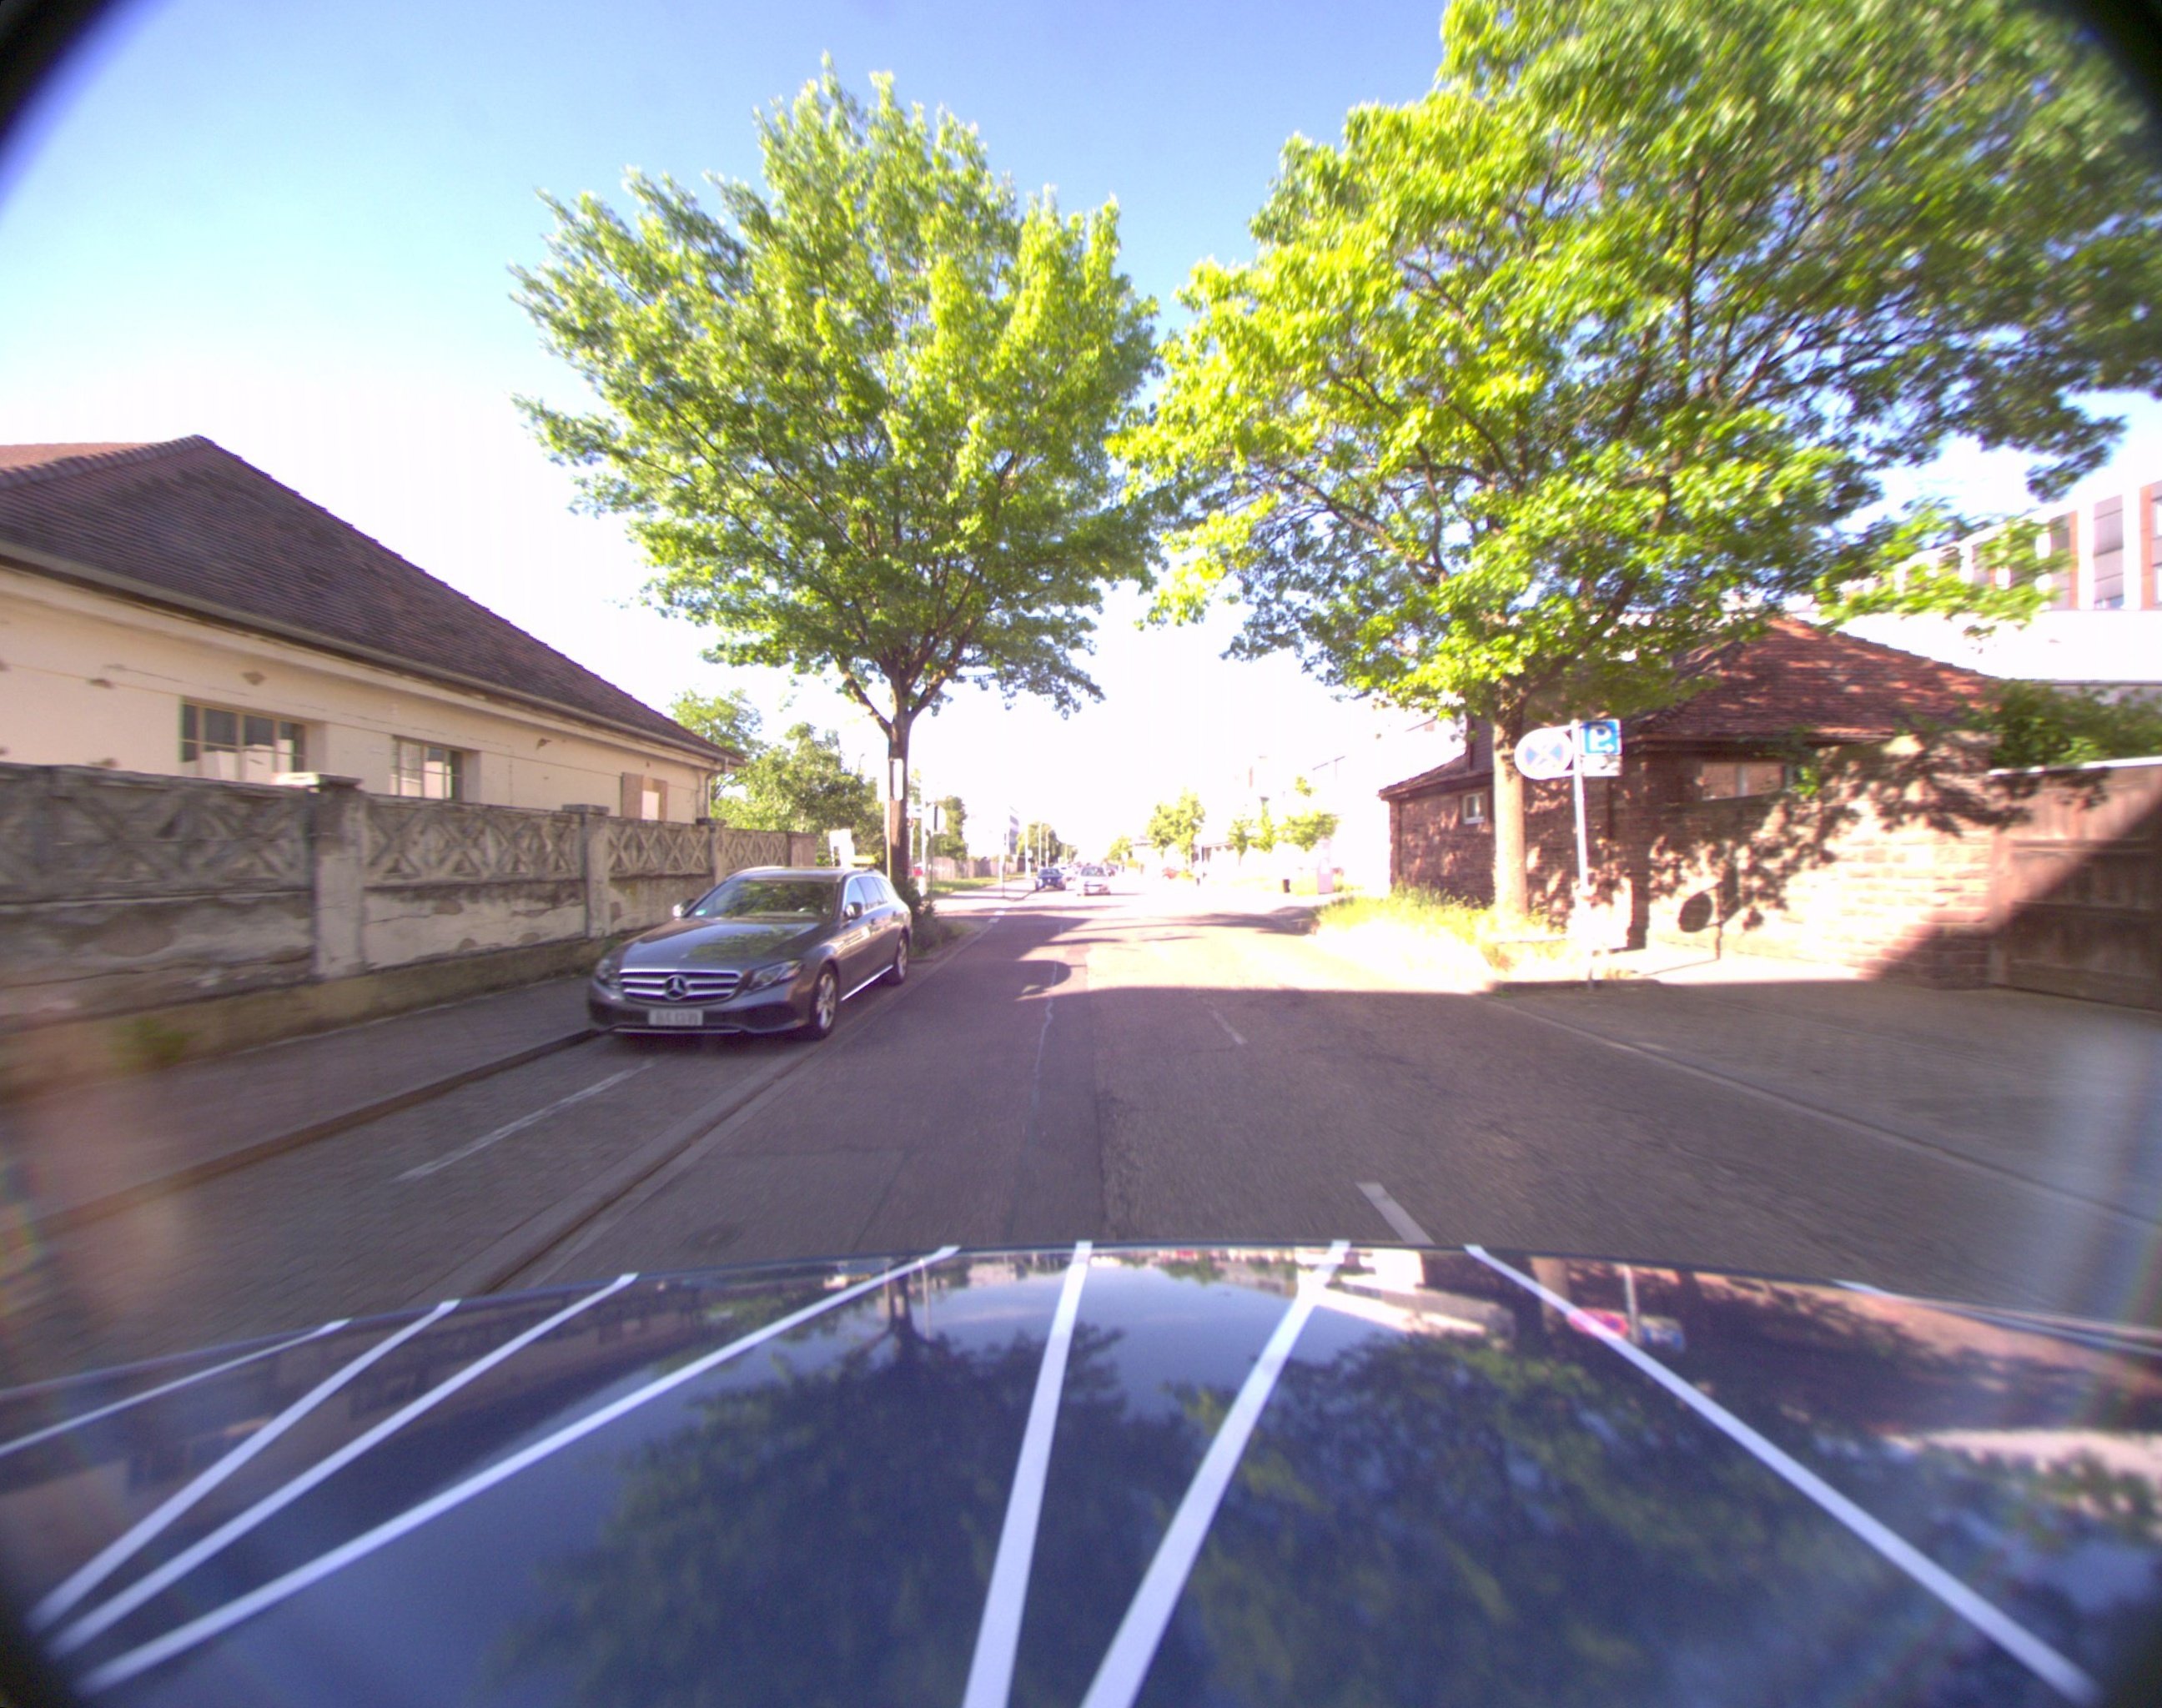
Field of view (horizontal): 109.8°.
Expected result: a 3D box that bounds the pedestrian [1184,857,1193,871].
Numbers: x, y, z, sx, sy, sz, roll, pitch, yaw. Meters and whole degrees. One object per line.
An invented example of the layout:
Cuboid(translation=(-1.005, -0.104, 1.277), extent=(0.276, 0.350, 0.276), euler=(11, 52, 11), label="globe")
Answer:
Cuboid(translation=(11.911, 1.110, 84.297), extent=(0.774, 1.540, 0.780), euler=(-2, 1, 0), label="pedestrian")

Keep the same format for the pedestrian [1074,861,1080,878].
Cuboid(translation=(-0.403, 1.576, 76.306), extent=(0.521, 1.698, 0.523), euler=(-2, 1, 5), label="pedestrian")

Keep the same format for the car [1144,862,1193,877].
Cuboid(translation=(8.314, 1.466, 72.493), extent=(4.522, 1.359, 1.700), euler=(-2, 0, 3), label="car")

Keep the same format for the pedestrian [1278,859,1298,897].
Cuboid(translation=(8.714, 1.006, 32.003), extent=(0.522, 1.553, 1.096), euler=(-1, 0, -1), label="pedestrian")

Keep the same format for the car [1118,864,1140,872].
Cuboid(translation=(9.568, 2.790, 151.356), extent=(4.142, 1.458, 1.753), euler=(-1, 0, -1), label="car")

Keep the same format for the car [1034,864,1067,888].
Cuboid(translation=(-1.842, 1.335, 47.457), extent=(1.822, 1.444, 4.214), euler=(0, -1, 1), label="car")

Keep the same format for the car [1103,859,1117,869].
Cuboid(translation=(4.226, 1.436, 110.983), extent=(1.766, 1.433, 4.537), euler=(-1, 0, -2), label="car")

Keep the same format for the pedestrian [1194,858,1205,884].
Cuboid(translation=(6.983, 1.021, 44.902), extent=(0.539, 1.515, 0.607), euler=(-1, 0, 1), label="pedestrian")

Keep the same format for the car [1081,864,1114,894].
Cuboid(translation=(0.856, 1.212, 37.987), extent=(1.551, 1.389, 3.455), euler=(0, 0, 3), label="car")

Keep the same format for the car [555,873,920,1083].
Cuboid(translation=(-3.094, 0.990, 8.114), extent=(1.707, 1.460, 4.789), euler=(-1, 0, 0), label="car")

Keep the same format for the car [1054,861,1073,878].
Cuboid(translation=(-1.760, 1.561, 75.861), extent=(1.818, 1.579, 4.262), euler=(-2, -1, -2), label="car")

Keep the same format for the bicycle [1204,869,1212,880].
Cuboid(translation=(13.513, 2.155, 80.731), extent=(0.536, 1.105, 1.861), euler=(0, 0, 0), label="bicycle")

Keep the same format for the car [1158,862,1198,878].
Cuboid(translation=(9.044, 1.488, 70.798), extent=(3.642, 1.460, 1.615), euler=(-2, -1, 7), label="car")

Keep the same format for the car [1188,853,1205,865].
Cuboid(translation=(17.785, 0.805, 117.438), extent=(1.924, 1.879, 4.711), euler=(0, -1, 0), label="car")

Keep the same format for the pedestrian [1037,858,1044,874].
Cuboid(translation=(-4.208, 1.281, 79.113), extent=(0.540, 1.602, 0.683), euler=(-2, 1, 1), label="pedestrian")
